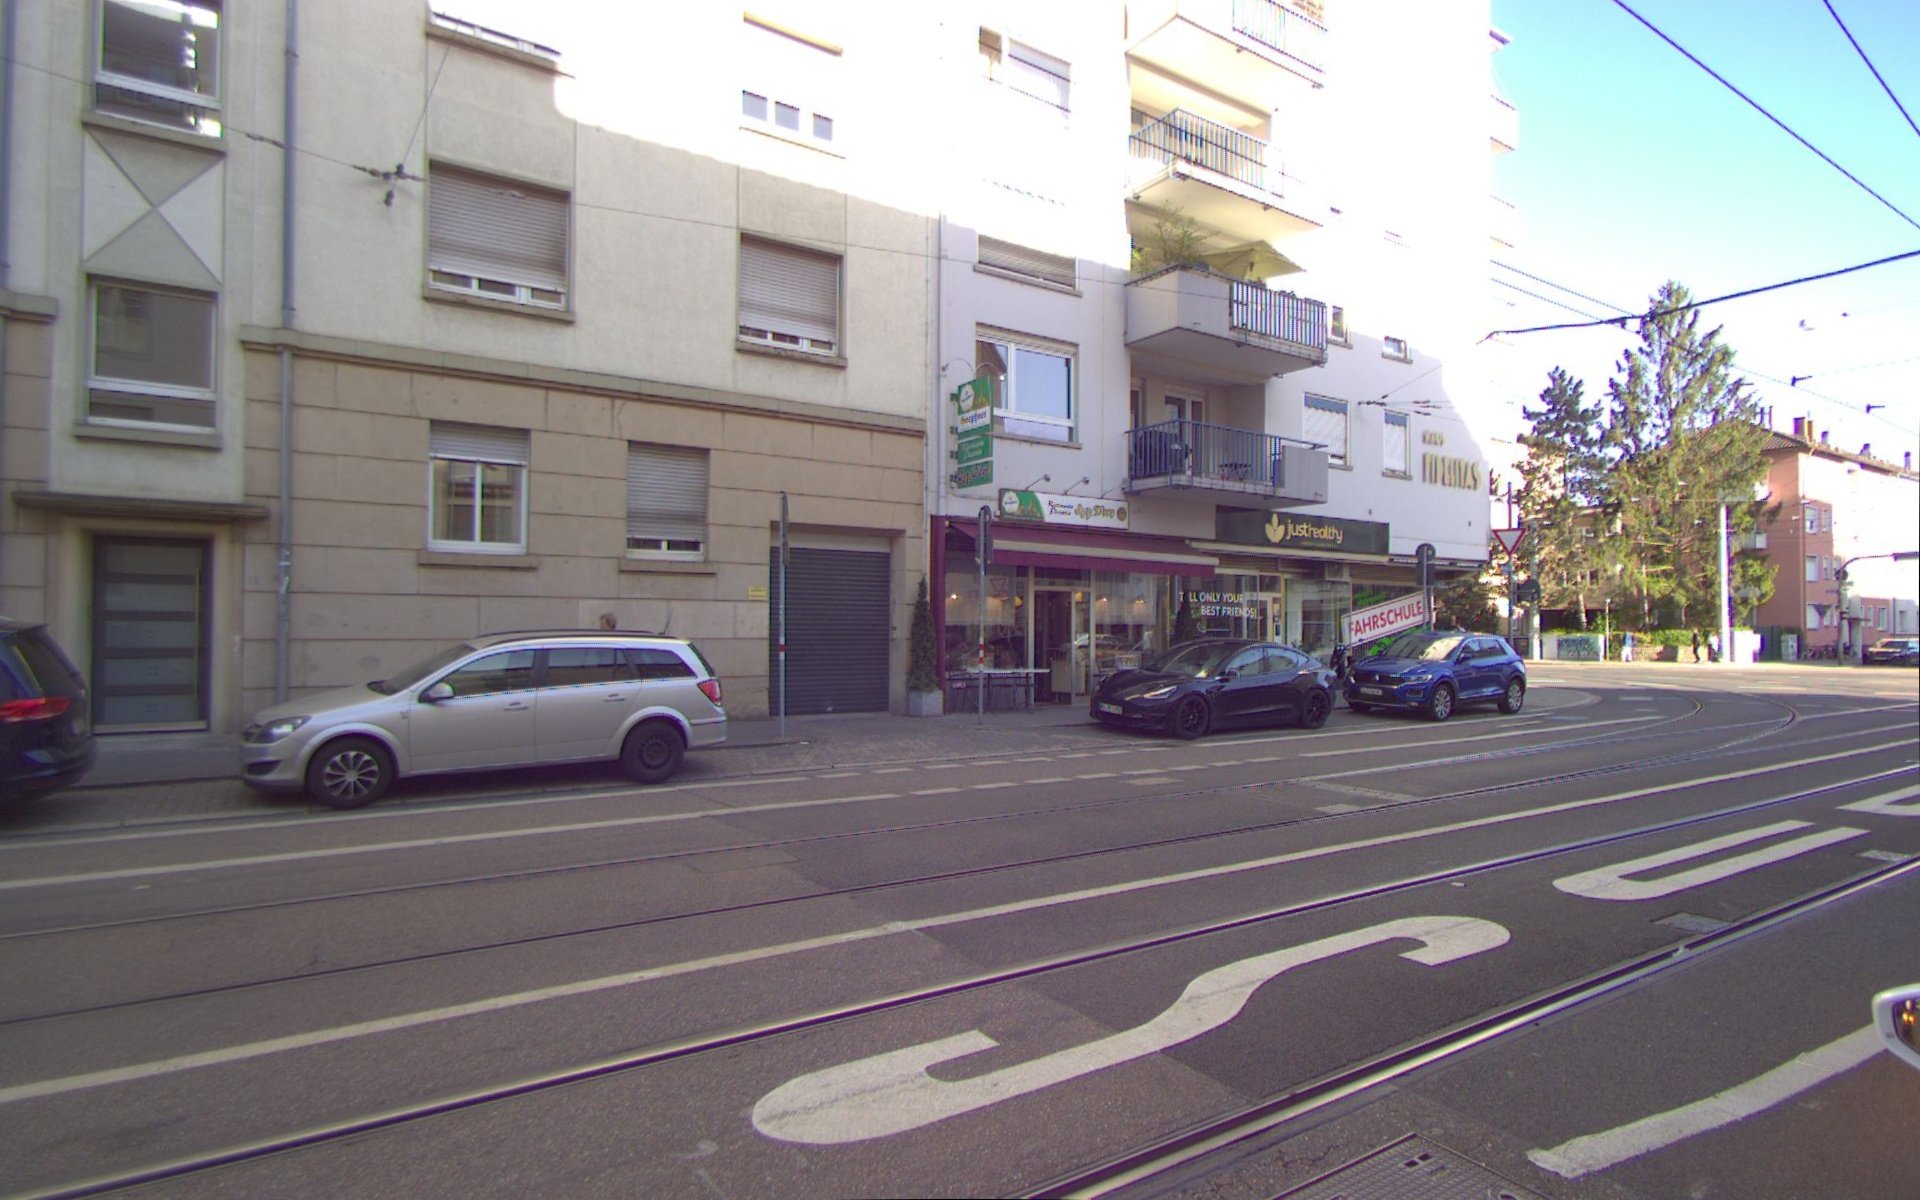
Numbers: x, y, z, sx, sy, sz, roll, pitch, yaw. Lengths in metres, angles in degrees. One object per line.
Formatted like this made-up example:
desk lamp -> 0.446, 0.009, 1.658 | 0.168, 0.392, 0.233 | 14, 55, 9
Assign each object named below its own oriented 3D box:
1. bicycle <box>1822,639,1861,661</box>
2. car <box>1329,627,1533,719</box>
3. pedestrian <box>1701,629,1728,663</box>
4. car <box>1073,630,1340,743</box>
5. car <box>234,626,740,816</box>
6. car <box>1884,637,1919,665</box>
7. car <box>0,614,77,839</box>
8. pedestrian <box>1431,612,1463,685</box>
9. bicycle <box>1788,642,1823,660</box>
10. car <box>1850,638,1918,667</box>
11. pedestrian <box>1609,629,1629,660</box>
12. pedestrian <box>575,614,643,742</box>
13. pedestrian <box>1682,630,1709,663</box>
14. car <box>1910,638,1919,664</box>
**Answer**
bicycle -> 52.274, 2.939, 59.571 | 3.267, 1.241, 0.844 | 1, -2, -32
car -> 8.984, 1.326, 19.065 | 3.959, 1.529, 1.733 | 2, -1, -35
pedestrian -> 38.321, 2.352, 51.023 | 0.723, 1.713, 0.846 | 0, -1, -6
car -> 4.002, 1.304, 16.033 | 4.267, 1.529, 1.689 | 2, -1, -34
car -> -4.629, 1.084, 10.217 | 4.340, 1.529, 1.689 | 2, -1, -34
car -> 54.245, 2.854, 56.935 | 3.959, 1.517, 1.899 | 1, -2, -34
car -> -9.125, 0.892, 7.037 | 4.202, 1.637, 1.688 | 2, -1, -36
pedestrian -> 13.923, 1.383, 28.718 | 0.480, 2.040, 0.683 | 1, -1, -30
bicycle -> 47.007, 2.805, 55.812 | 2.568, 0.964, 0.729 | 1, -2, -32
car -> 49.509, 2.787, 53.808 | 3.961, 1.452, 1.898 | 1, -2, -36
pedestrian -> 35.264, 2.353, 53.731 | 0.835, 1.647, 0.515 | -1, -2, 27
pedestrian -> -4.484, 0.966, 12.808 | 0.713, 1.569, 0.694 | 0, -1, -30
pedestrian -> 38.134, 2.388, 52.071 | 0.723, 1.713, 0.845 | 0, -1, -7
car -> 58.074, 2.999, 59.447 | 3.959, 1.517, 1.899 | 1, -2, -34
